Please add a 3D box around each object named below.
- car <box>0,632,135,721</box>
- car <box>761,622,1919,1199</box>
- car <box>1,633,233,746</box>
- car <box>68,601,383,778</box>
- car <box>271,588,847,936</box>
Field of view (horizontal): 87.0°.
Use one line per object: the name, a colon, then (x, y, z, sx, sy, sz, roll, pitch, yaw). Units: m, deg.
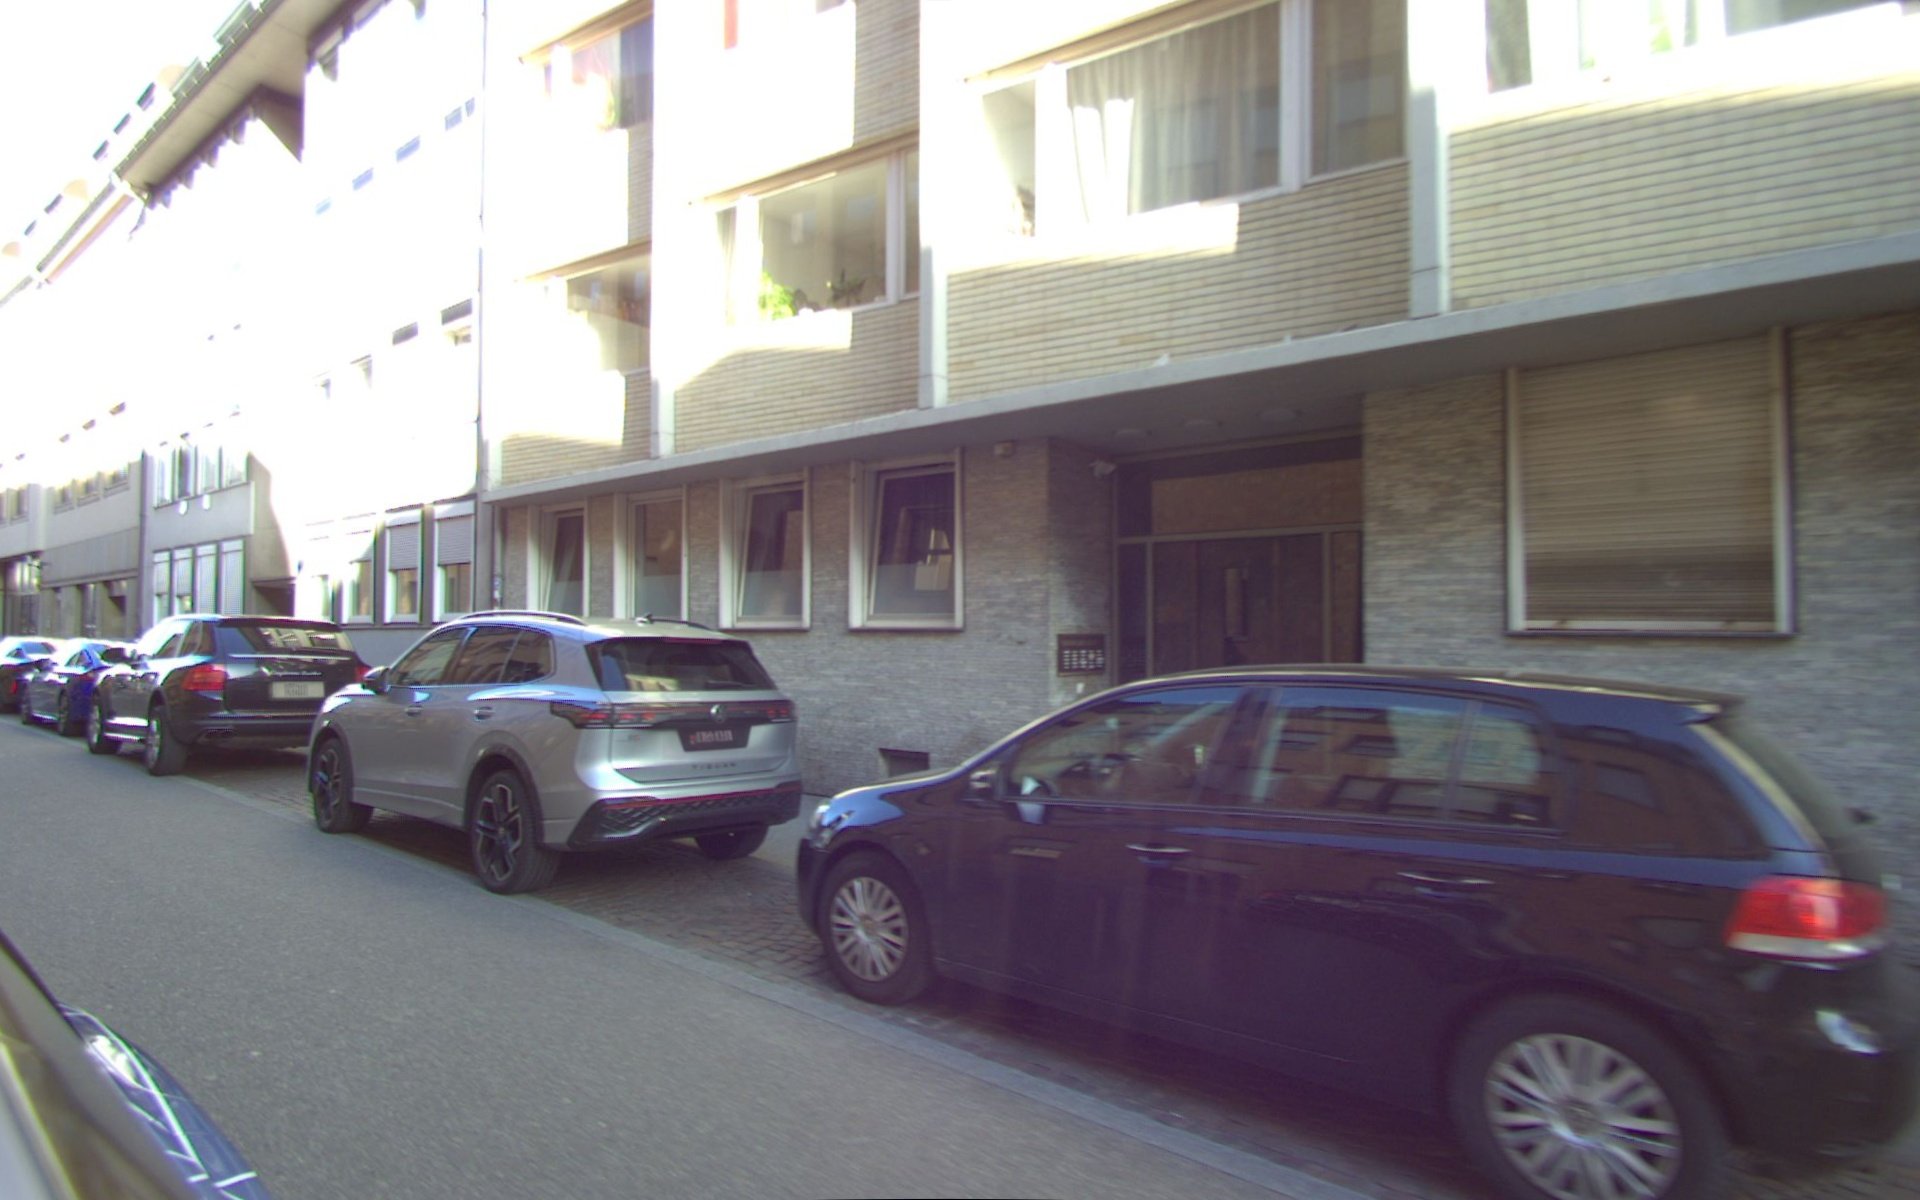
car: (-17.980, 1.466, 19.738, 4.722, 1.542, 1.871, -2, -6, 38)
car: (1.171, 0.879, 3.901, 3.996, 1.472, 1.631, -2, -5, 40)
car: (-13.346, 1.316, 15.946, 4.333, 1.542, 1.872, -2, -3, 38)
car: (-8.716, 0.950, 11.864, 4.548, 1.688, 1.871, -2, -3, 39)
car: (-3.031, 0.909, 7.237, 4.384, 1.755, 1.872, -2, -3, 38)
